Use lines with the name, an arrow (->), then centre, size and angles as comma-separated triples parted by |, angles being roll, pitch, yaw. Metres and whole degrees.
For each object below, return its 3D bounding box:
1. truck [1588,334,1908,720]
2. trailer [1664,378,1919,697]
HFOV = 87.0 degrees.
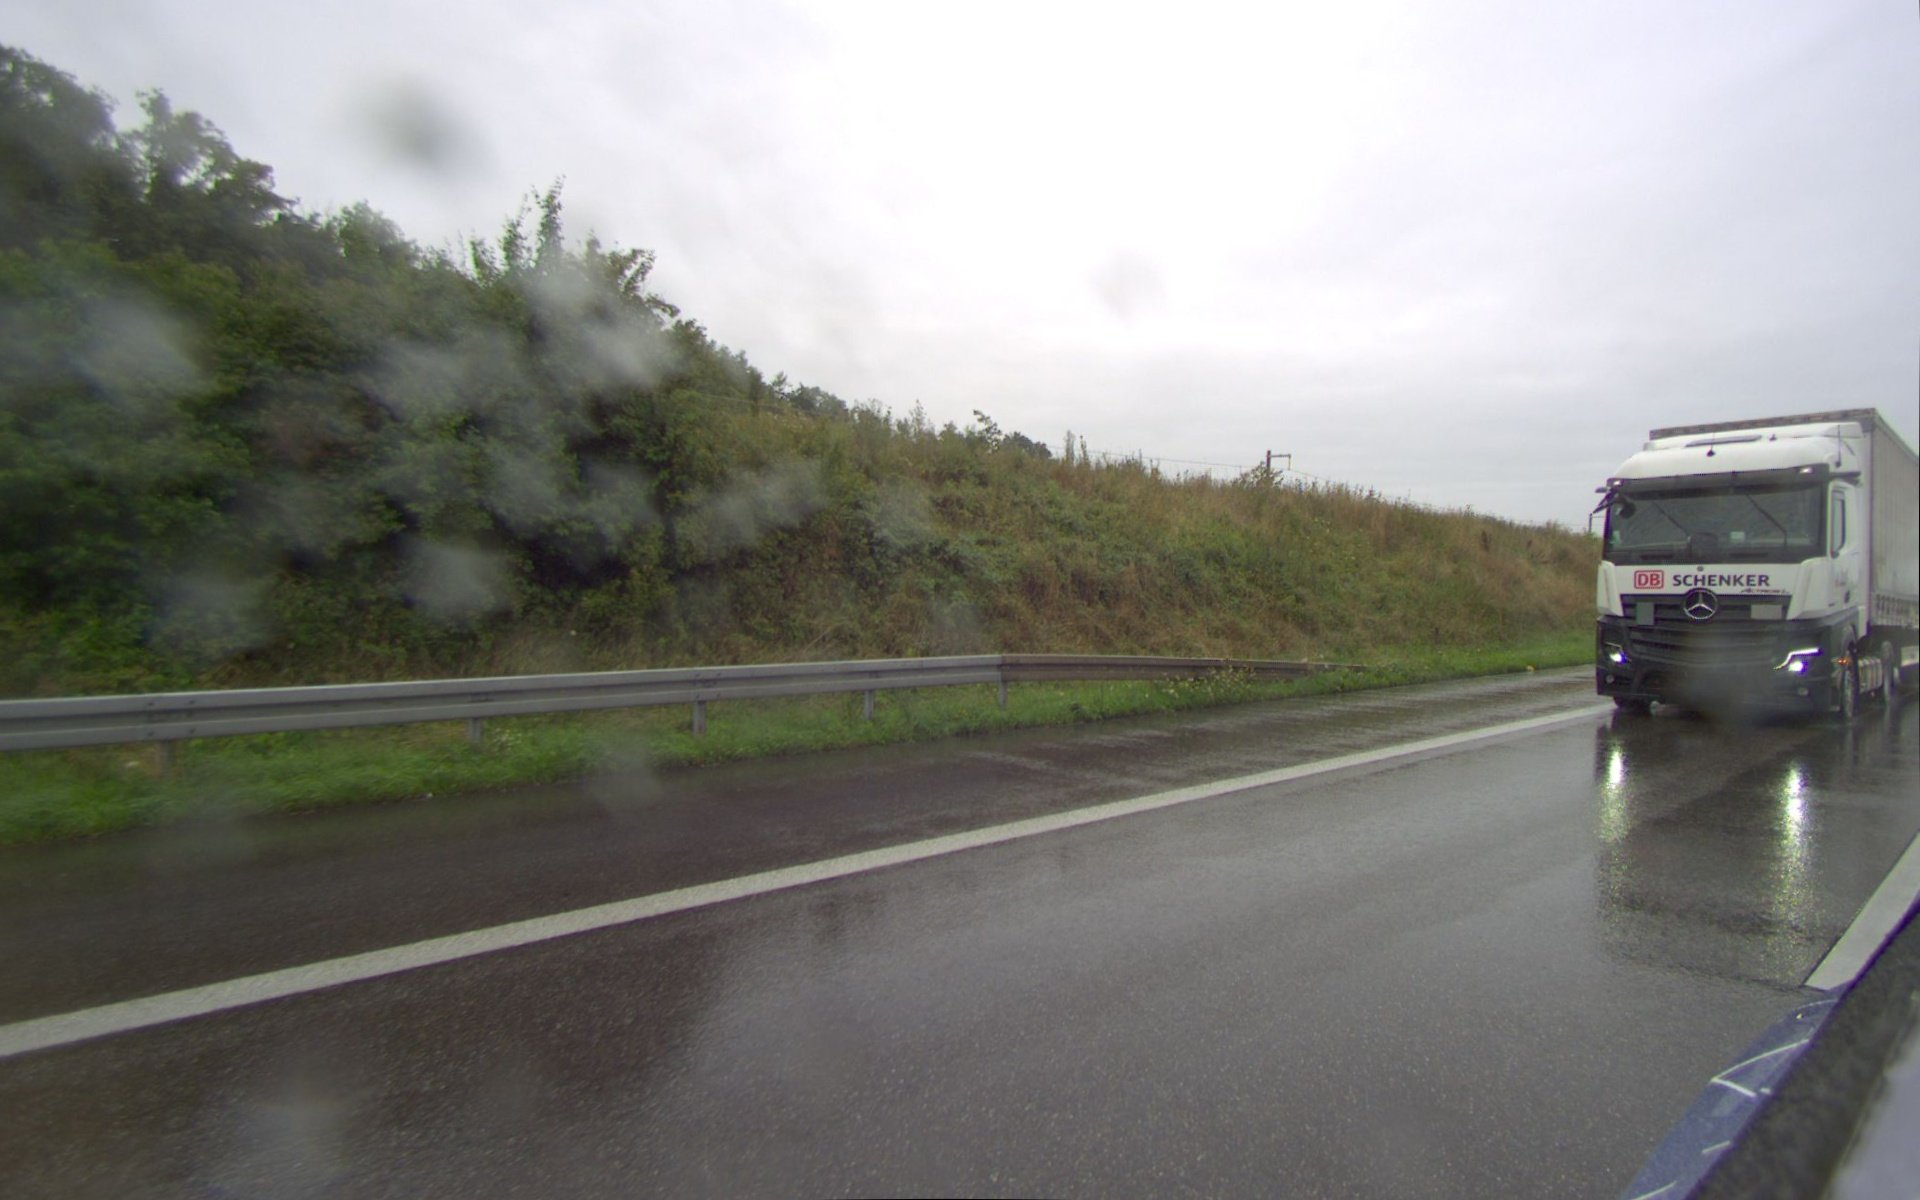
truck -> 10.960, -0.841, 13.944 | 4.956, 4.307, 2.630 | 0, 0, -42
trailer -> 16.998, -0.902, 19.269 | 13.930, 4.302, 2.631 | 0, 0, -41
